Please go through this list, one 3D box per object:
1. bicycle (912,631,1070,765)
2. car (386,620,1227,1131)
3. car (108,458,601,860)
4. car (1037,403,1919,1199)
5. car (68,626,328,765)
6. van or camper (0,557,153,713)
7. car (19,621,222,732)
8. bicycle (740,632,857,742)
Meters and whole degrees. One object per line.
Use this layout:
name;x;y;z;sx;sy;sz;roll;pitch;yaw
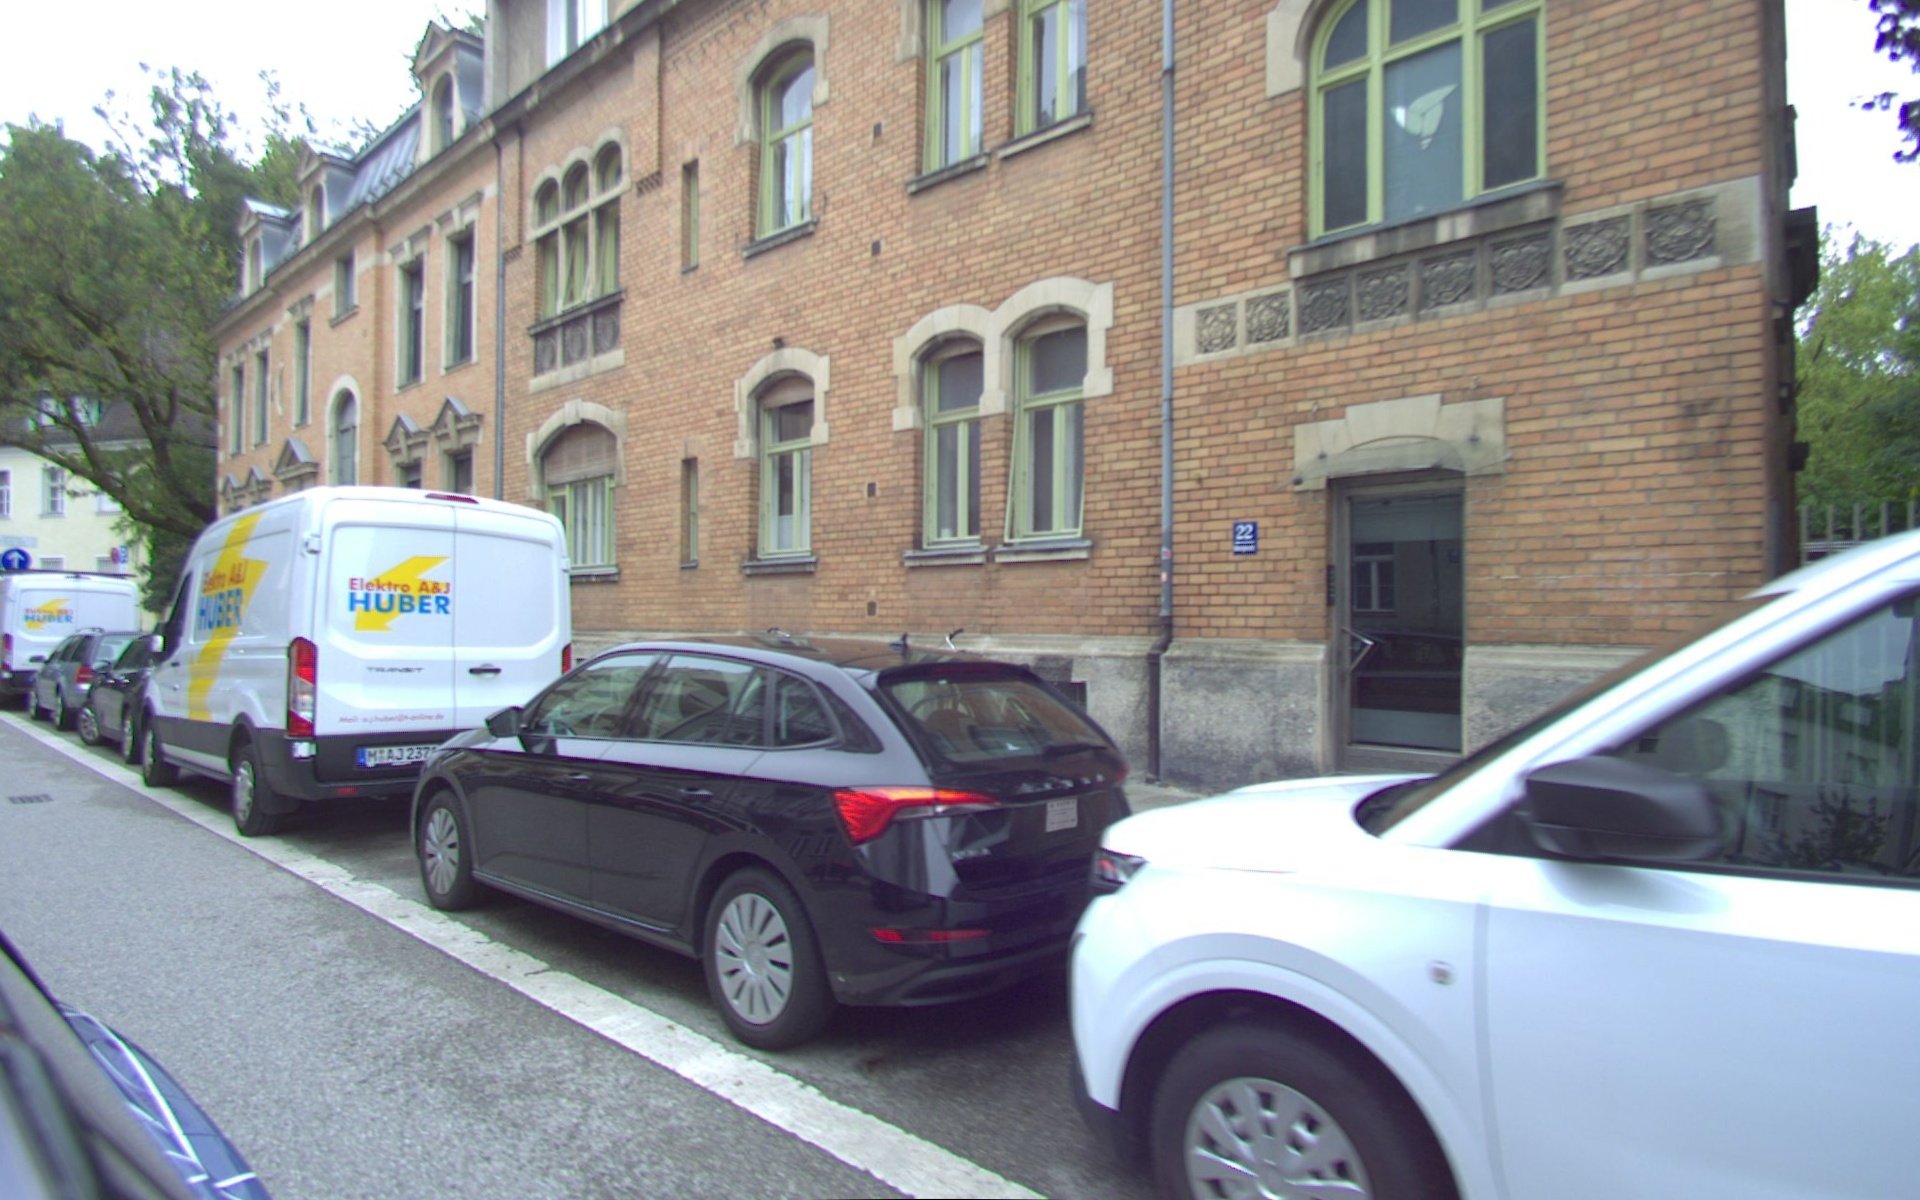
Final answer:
bicycle;0.256;0.845;9.148;1.470;1.093;0.430;-1;0;40
car;-1.029;0.849;4.874;4.163;1.431;1.697;-2;-3;41
car;-5.467;0.451;8.787;5.228;2.495;2.090;-2;-3;41
car;2.345;0.607;1.780;4.247;1.769;1.697;-2;-3;41
car;-9.384;1.058;12.368;3.790;1.426;1.746;-2;-3;41
van or camper;-17.670;0.691;19.725;4.954;2.682;2.089;-2;-3;41
car;-13.142;1.116;15.762;4.078;1.512;1.746;-2;-3;41
bicycle;-1.773;0.911;10.989;1.470;1.093;0.389;-1;0;40
